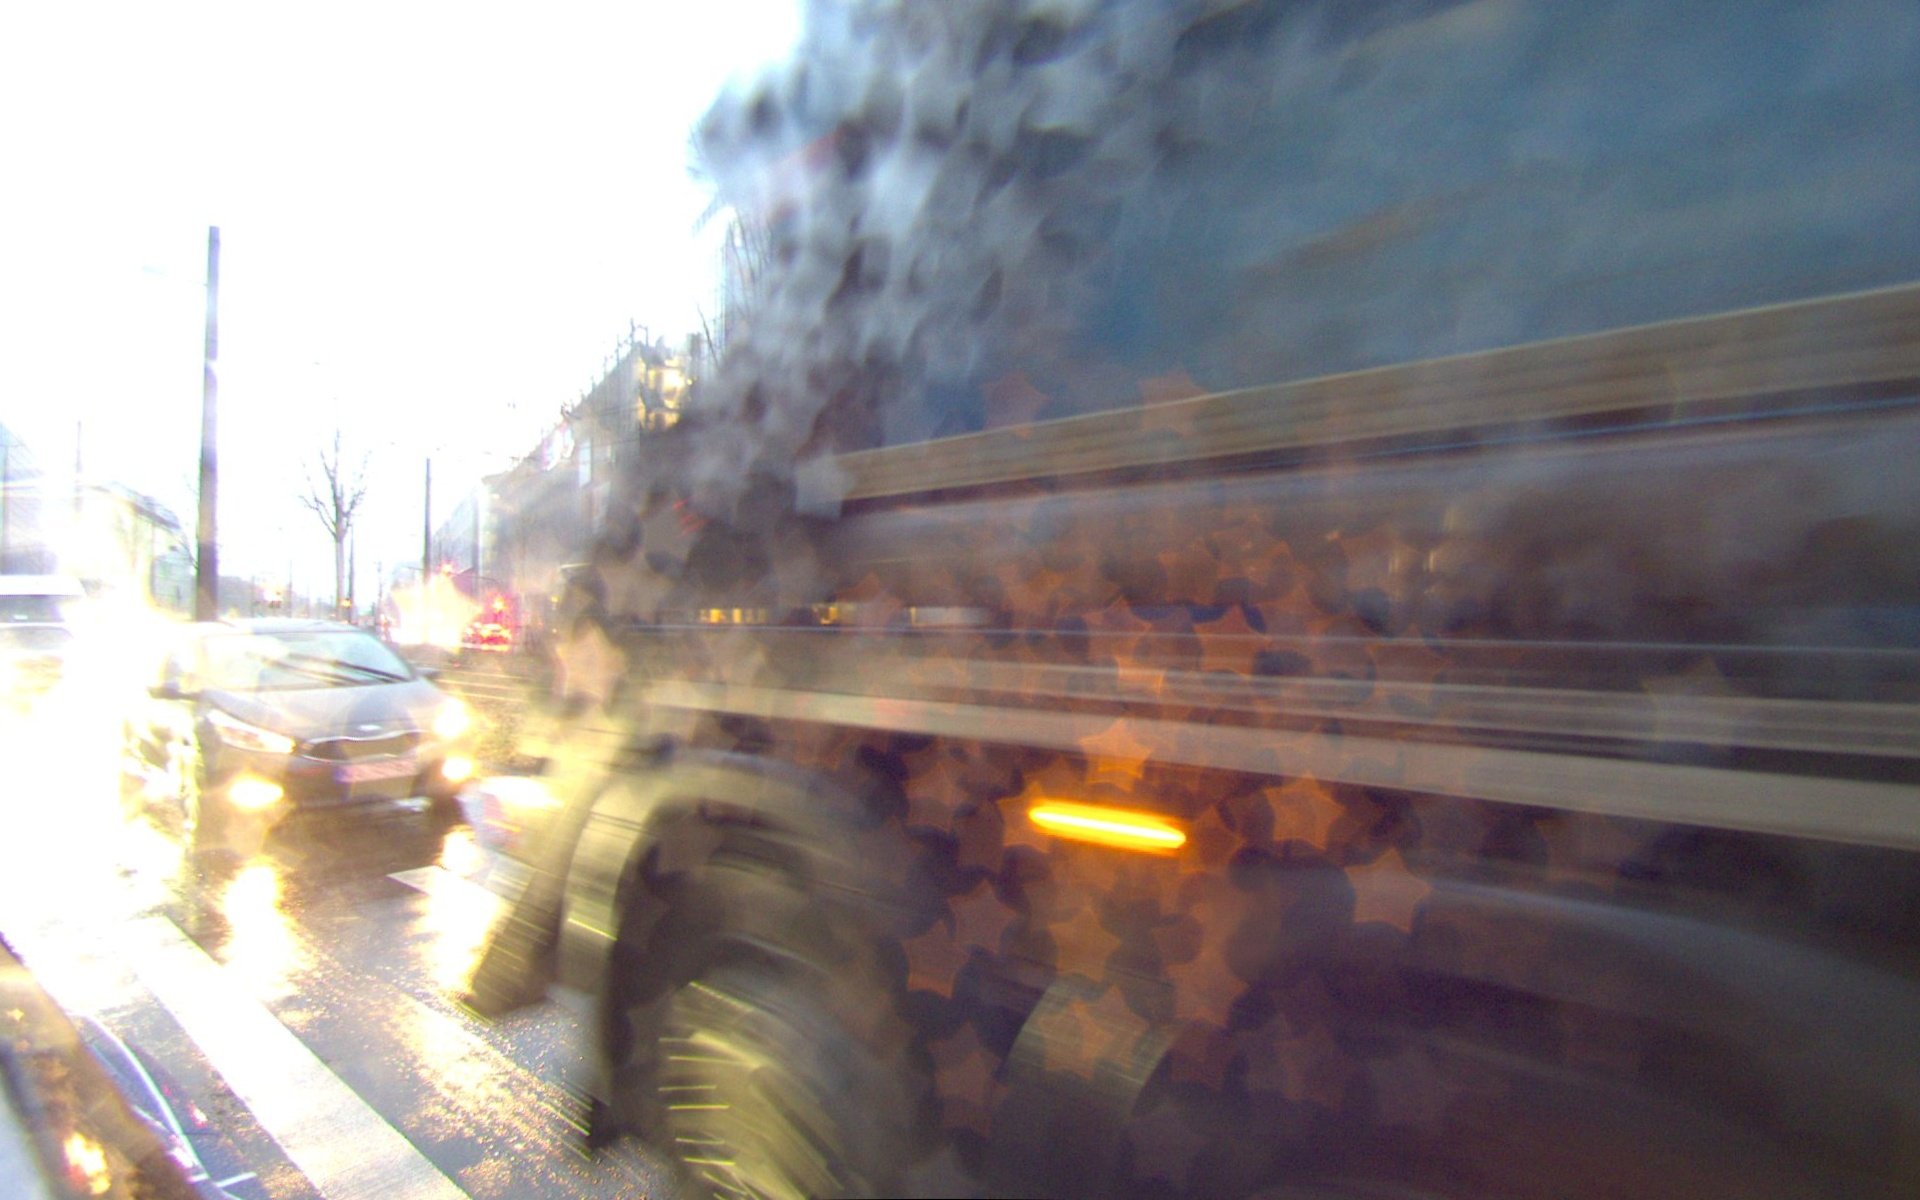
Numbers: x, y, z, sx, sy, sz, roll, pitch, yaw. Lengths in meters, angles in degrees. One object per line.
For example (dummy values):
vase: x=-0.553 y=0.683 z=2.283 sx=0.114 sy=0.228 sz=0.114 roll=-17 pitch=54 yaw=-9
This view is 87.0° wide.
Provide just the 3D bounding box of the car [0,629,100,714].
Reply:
car: x=-17.522 y=1.269 z=18.948 sx=4.057 sy=1.355 sz=1.735 roll=0 pitch=-1 yaw=44

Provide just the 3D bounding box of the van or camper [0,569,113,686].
van or camper: x=-22.623 y=0.656 z=24.598 sx=5.894 sy=2.551 sz=2.126 roll=-1 pitch=-2 yaw=40

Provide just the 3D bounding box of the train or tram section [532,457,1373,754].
train or tram section: x=-2.478 y=0.246 z=20.160 sx=20.064 sy=3.642 sz=2.834 roll=-1 pitch=-2 yaw=42

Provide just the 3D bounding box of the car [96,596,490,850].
car: x=-5.427 y=0.813 z=8.044 sx=3.939 sy=1.535 sz=1.613 roll=-2 pitch=-3 yaw=41

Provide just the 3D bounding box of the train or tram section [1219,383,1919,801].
train or tram section: x=11.576 y=-0.084 z=7.940 sx=19.197 sy=3.642 sz=2.835 roll=-1 pitch=-2 yaw=40

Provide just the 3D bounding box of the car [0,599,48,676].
car: x=-37.719 y=1.439 z=39.642 sx=5.808 sy=2.885 sz=2.103 roll=-1 pitch=-2 yaw=40

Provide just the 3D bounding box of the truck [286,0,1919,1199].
truck: x=2.081 y=-0.293 z=1.202 sx=7.521 sy=3.661 sz=2.810 roll=-1 pitch=-2 yaw=40
